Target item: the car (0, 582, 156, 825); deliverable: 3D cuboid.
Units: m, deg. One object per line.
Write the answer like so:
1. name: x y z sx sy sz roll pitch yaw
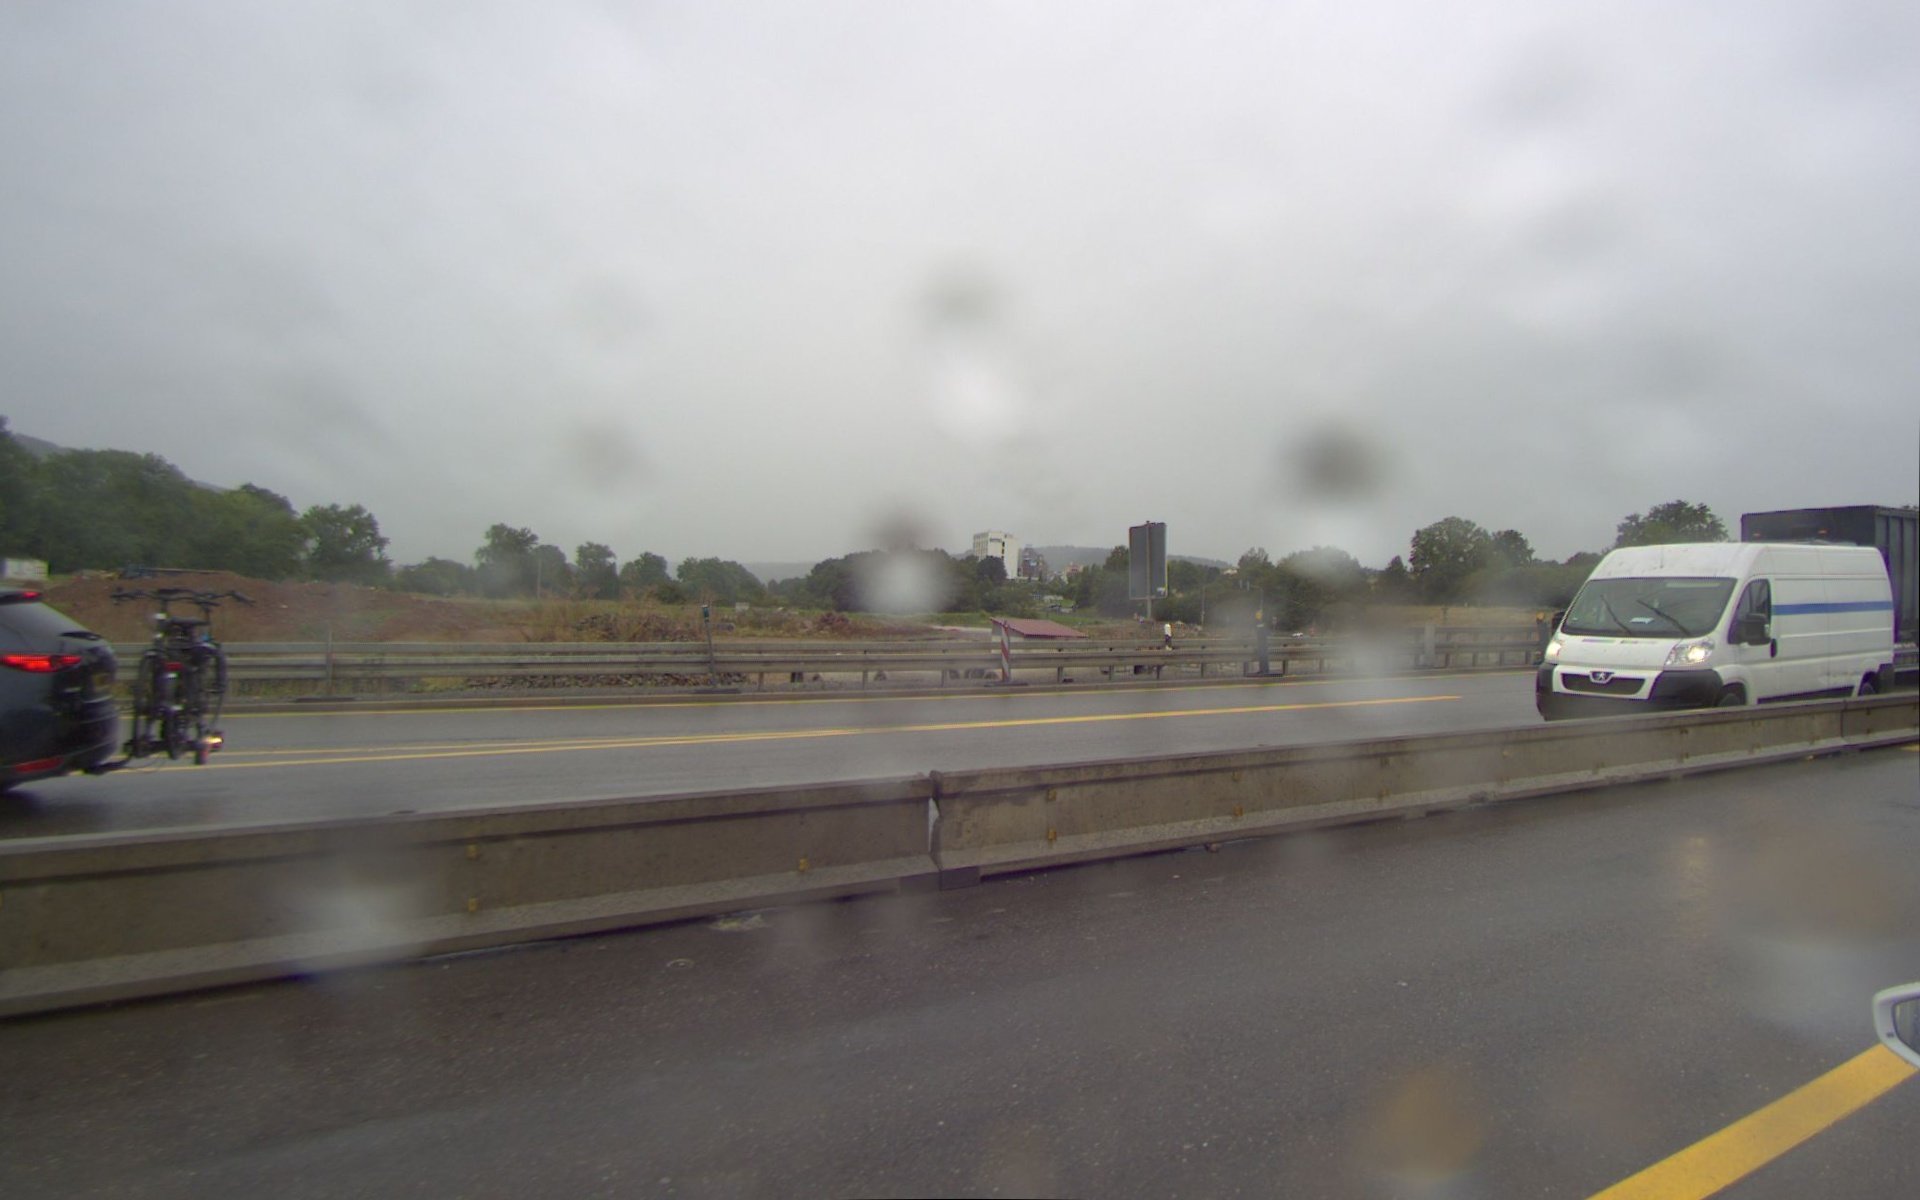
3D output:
1. car: -7.746 0.621 6.404 3.831 1.544 1.717 2 -1 -31

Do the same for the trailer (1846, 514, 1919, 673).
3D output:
1. trailer: 28.258 -0.124 27.971 9.565 4.023 2.731 1 0 -32

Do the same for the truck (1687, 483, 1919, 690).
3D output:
1. truck: 20.323 -0.218 23.042 9.109 4.023 2.627 1 0 -32

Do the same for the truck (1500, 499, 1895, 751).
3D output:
1. truck: 9.987 0.333 13.426 5.948 2.749 2.136 2 0 -31
